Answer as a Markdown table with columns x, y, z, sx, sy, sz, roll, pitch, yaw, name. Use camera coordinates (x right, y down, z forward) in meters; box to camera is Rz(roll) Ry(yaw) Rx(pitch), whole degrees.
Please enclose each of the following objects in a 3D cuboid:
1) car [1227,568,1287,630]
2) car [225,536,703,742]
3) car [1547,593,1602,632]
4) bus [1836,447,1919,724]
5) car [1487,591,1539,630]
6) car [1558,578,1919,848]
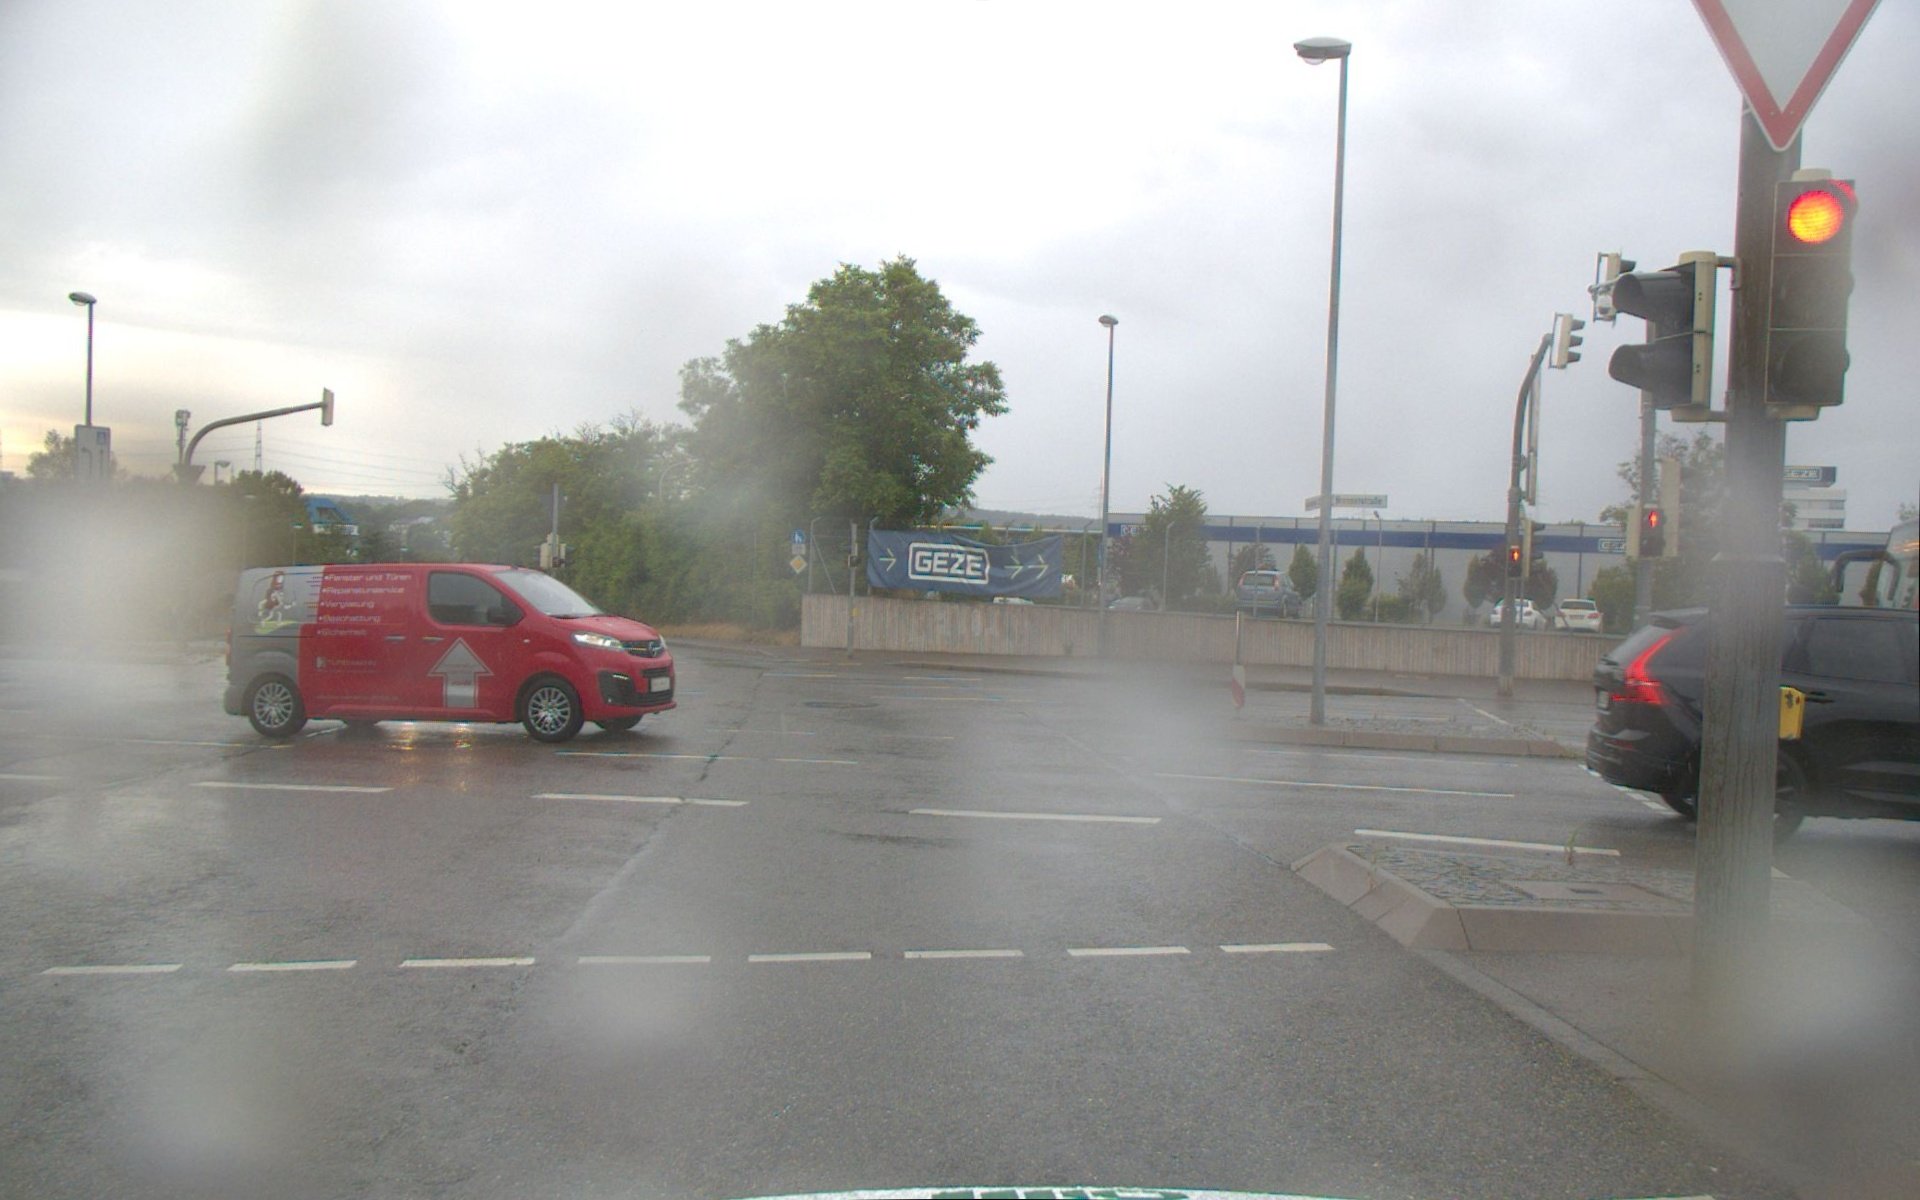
| x | y | z | sx | sy | sz | roll | pitch | yaw | name |
| --- | --- | --- | --- | --- | --- | --- | --- | --- | --- |
| 10.393 | -0.045 | 57.846 | 1.951 | 2.049 | 4.003 | 1 | 0 | 11 | car |
| -5.435 | 0.377 | 18.355 | 4.670 | 2.049 | 2.002 | 1 | 0 | 12 | car |
| 25.256 | 0.480 | 68.061 | 1.952 | 1.504 | 4.001 | 2 | 0 | 19 | car |
| 17.635 | 0.086 | 19.937 | 12.020 | 3.379 | 3.076 | 3 | 1 | 17 | bus |
| 22.960 | 0.410 | 68.650 | 1.952 | 1.504 | 4.001 | 2 | 0 | 19 | car |
| 6.807 | 0.784 | 11.826 | 4.519 | 1.708 | 2.036 | 2 | 1 | 14 | car |
